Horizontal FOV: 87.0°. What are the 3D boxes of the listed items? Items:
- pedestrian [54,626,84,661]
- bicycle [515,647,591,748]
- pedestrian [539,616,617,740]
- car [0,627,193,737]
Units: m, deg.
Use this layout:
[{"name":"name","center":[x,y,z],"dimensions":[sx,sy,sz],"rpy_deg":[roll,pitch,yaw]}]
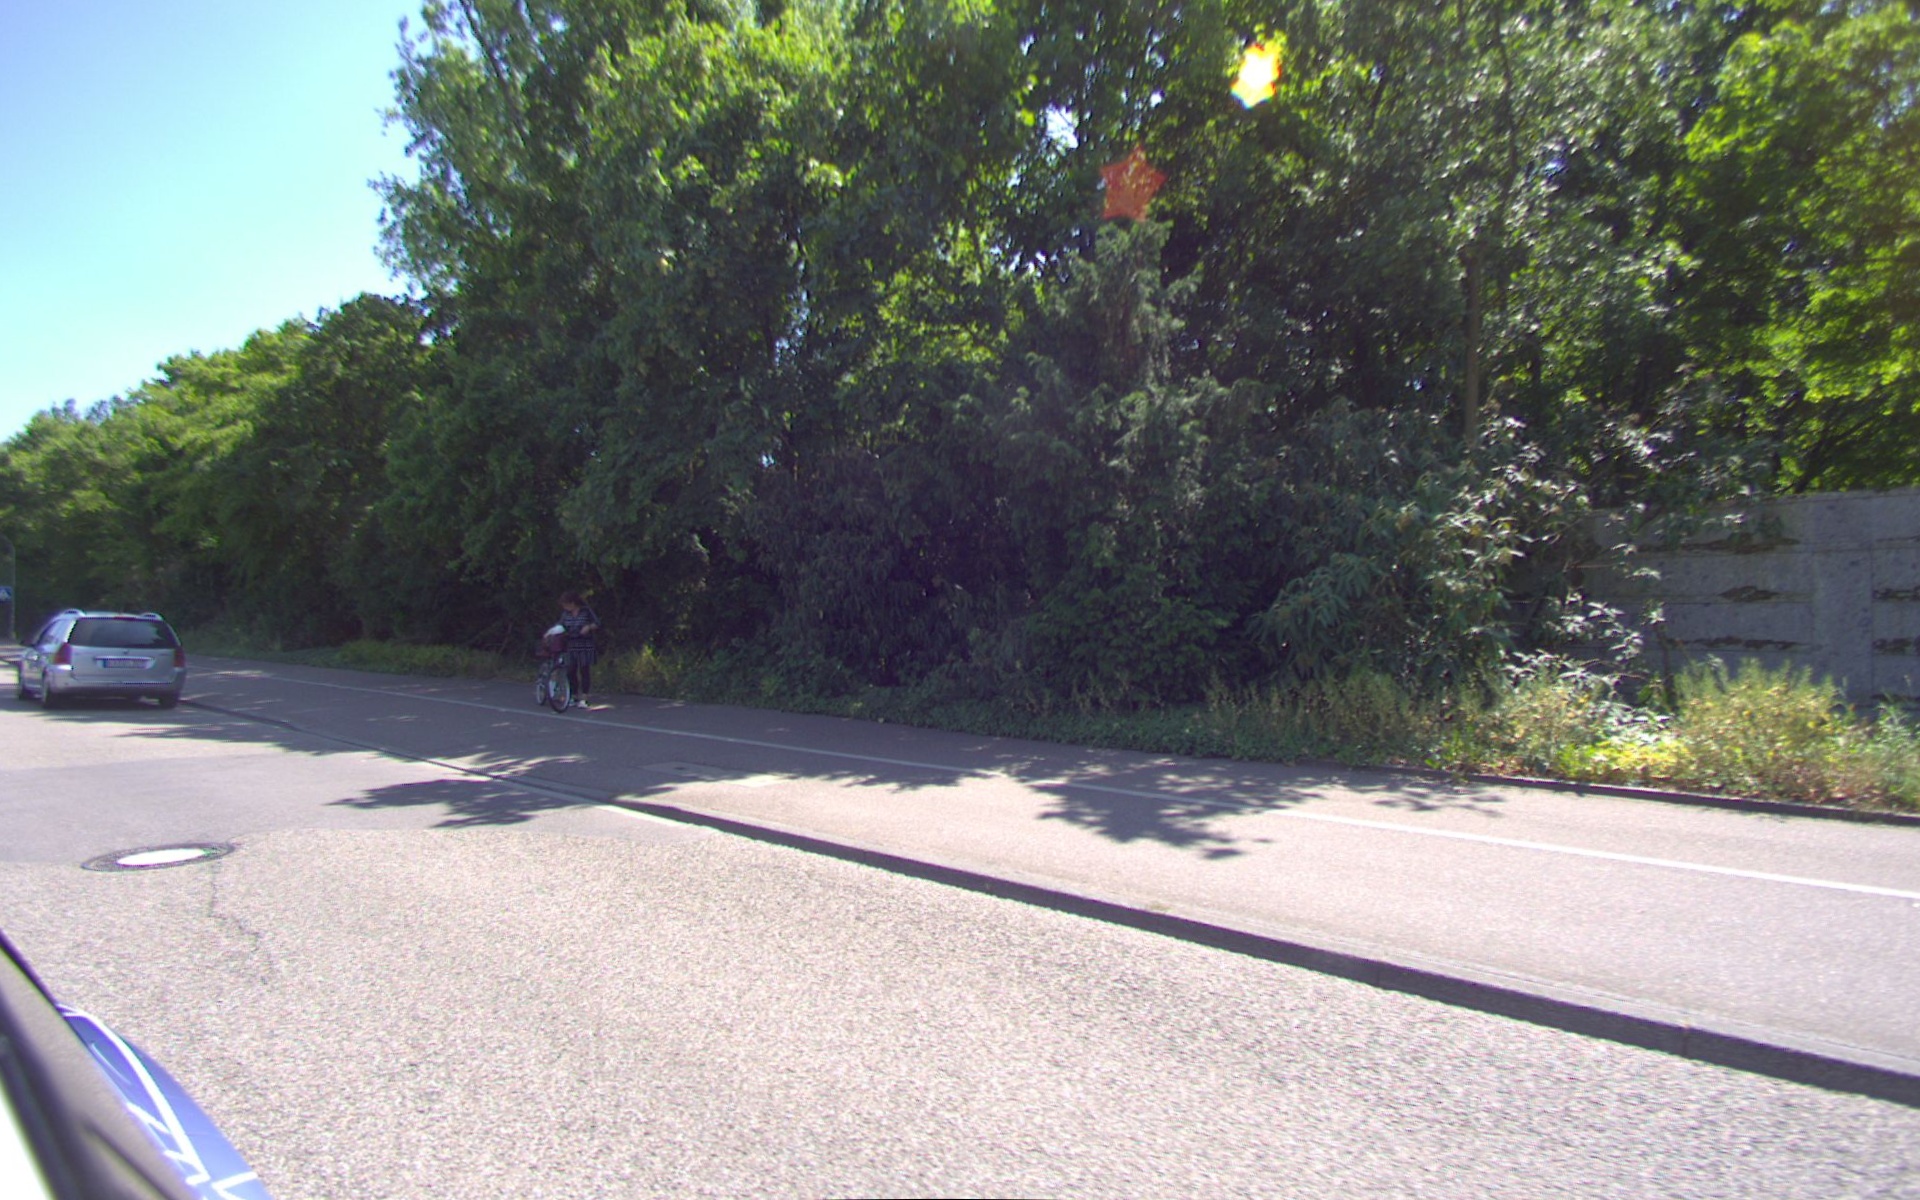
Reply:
[{"name":"pedestrian","center":[-41.573,2.013,47.199],"dimensions":[0.885,1.625,0.923],"rpy_deg":[-1,-1,40]},{"name":"bicycle","center":[-5.859,1.346,14.502],"dimensions":[0.514,1.246,1.965],"rpy_deg":[-1,1,-37]},{"name":"pedestrian","center":[-5.505,1.100,14.607],"dimensions":[0.767,1.731,0.809],"rpy_deg":[0,-2,7]},{"name":"car","center":[-14.606,1.333,17.027],"dimensions":[4.269,1.584,1.773],"rpy_deg":[-1,-6,41]}]
